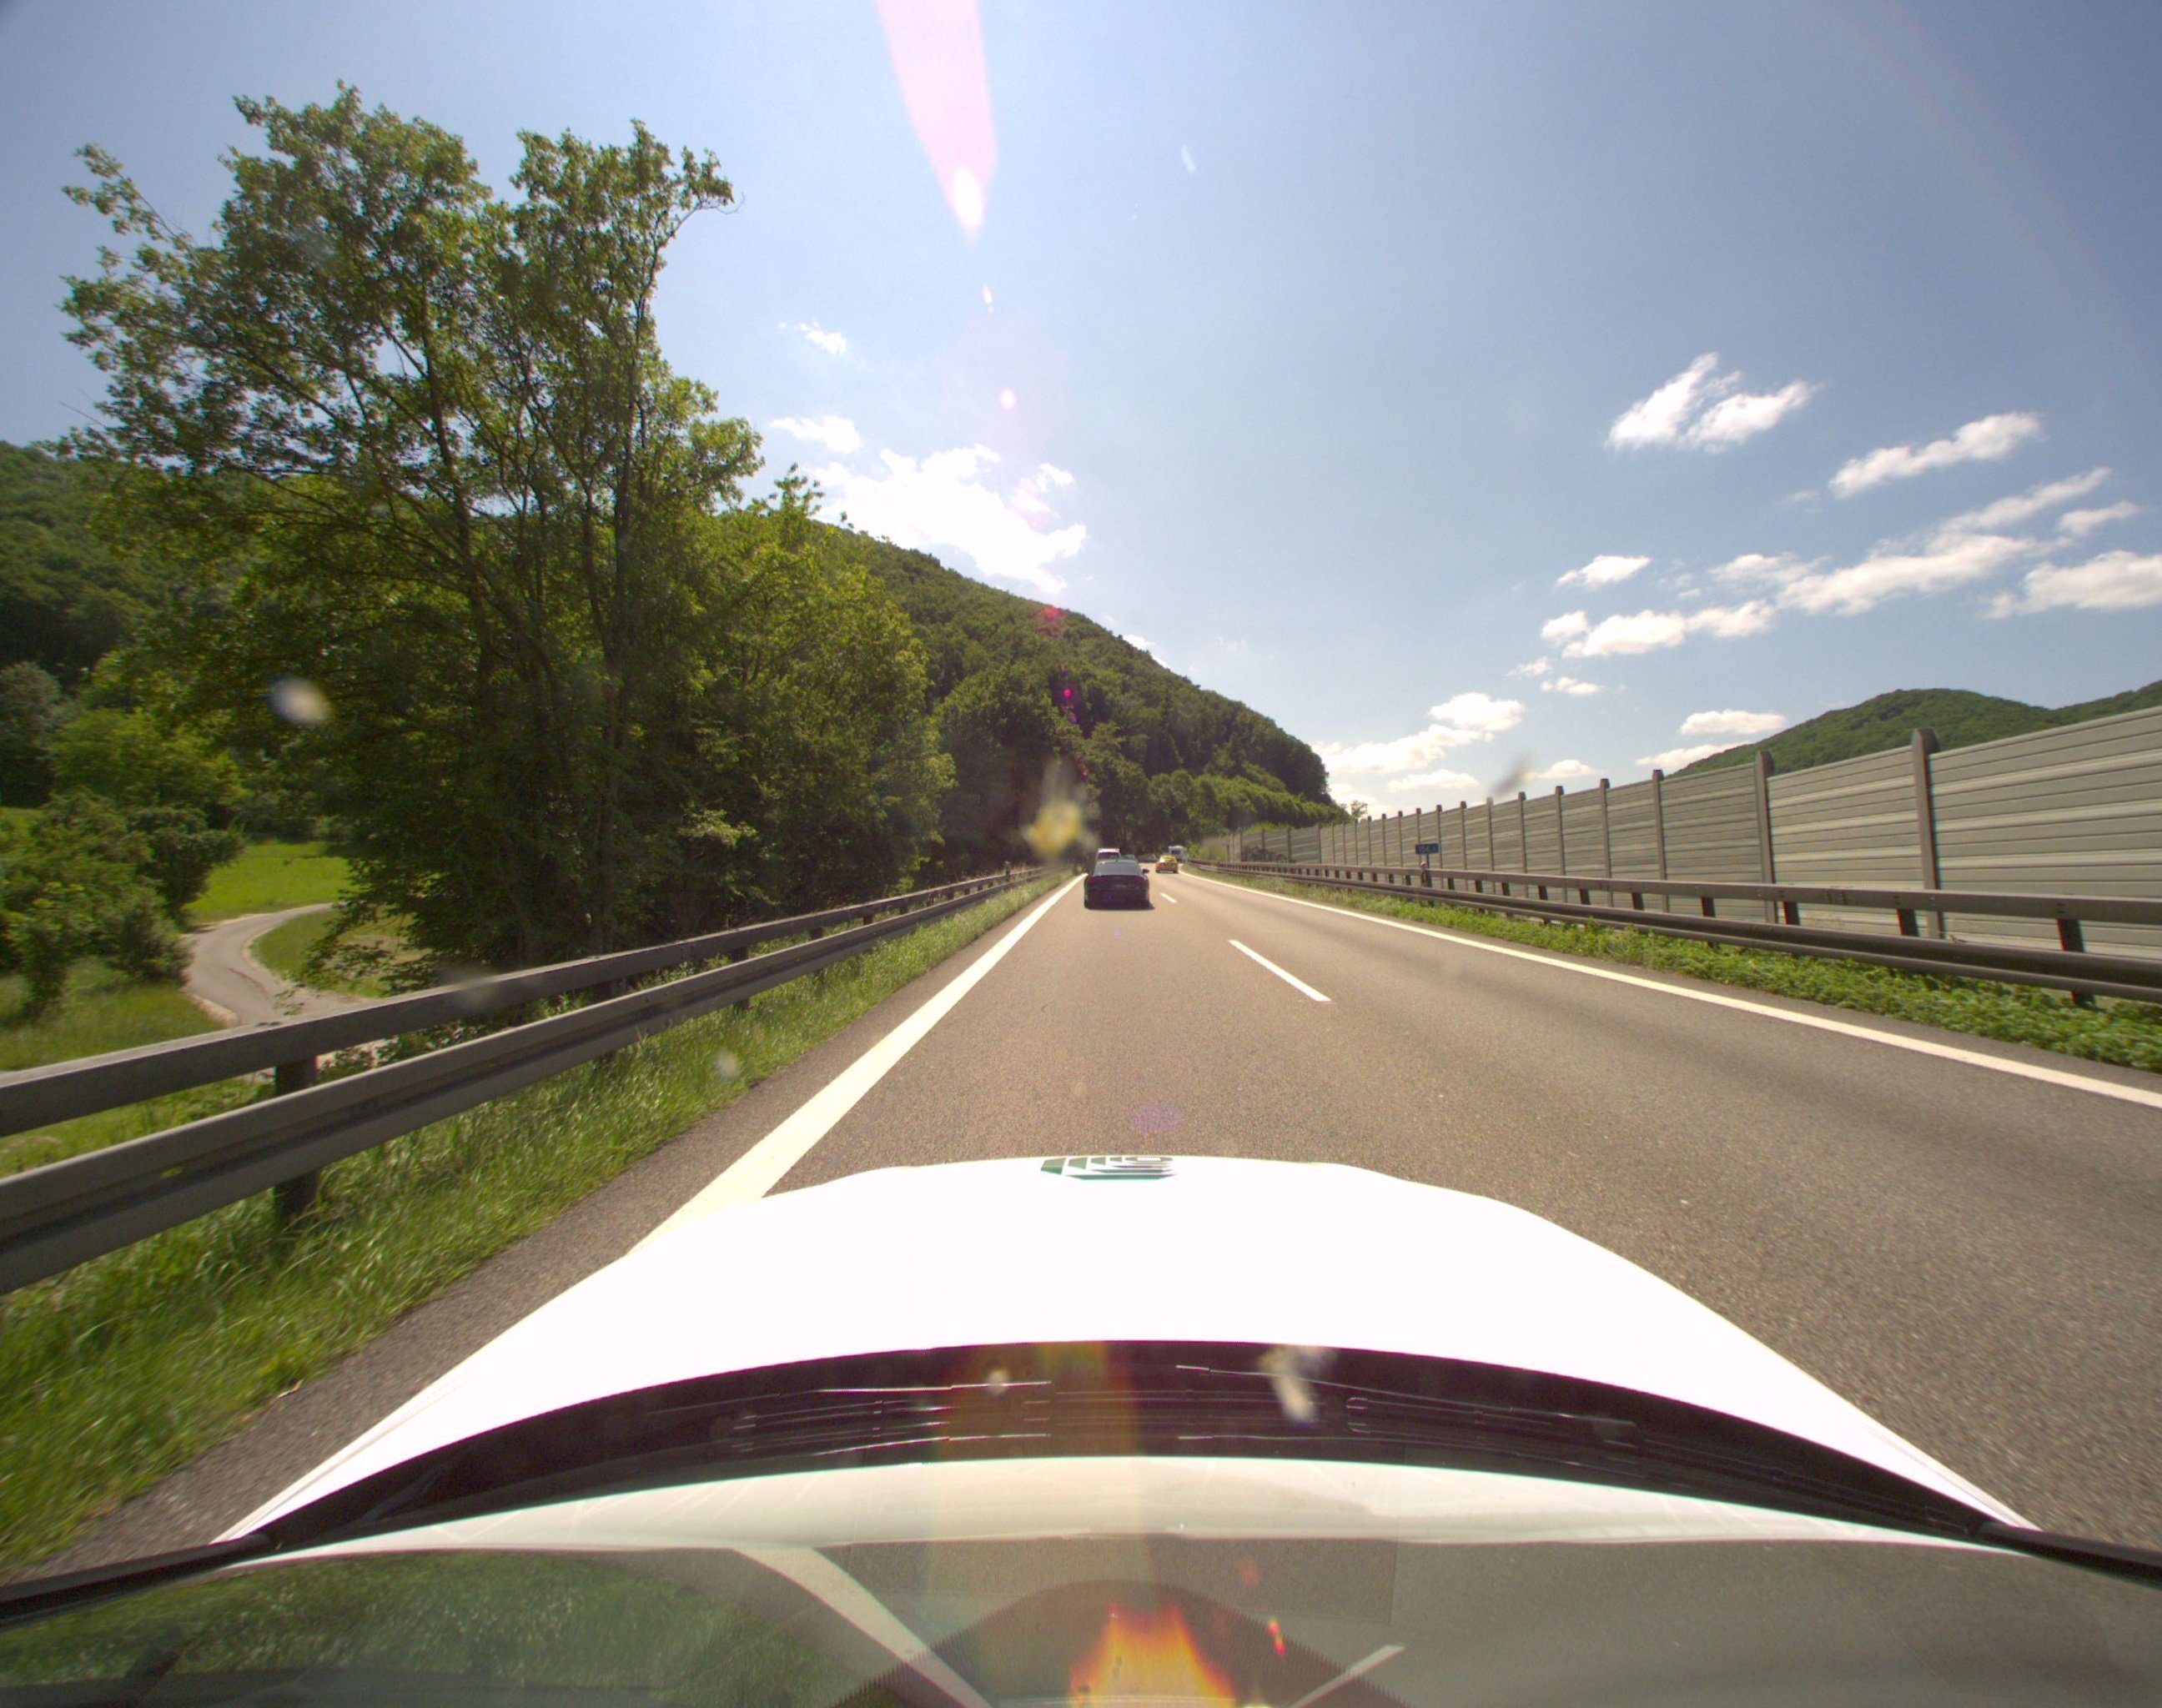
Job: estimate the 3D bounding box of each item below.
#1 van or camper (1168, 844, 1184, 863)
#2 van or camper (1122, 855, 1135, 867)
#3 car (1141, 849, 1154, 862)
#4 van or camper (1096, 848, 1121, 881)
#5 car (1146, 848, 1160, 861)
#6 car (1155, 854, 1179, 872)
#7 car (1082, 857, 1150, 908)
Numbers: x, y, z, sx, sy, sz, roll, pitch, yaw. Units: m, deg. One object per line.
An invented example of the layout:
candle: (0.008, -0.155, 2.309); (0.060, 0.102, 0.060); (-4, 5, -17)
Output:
van or camper: (15.443, -0.025, 132.697); (2.443, 2.918, 6.135); (-1, -1, 6)
van or camper: (6.247, 0.960, 106.854); (1.551, 1.534, 3.507); (-1, -1, 2)
car: (10.680, 0.265, 131.282); (1.984, 2.014, 4.006); (-1, -1, 5)
van or camper: (1.600, 0.601, 47.765); (1.386, 1.816, 4.001); (-1, -1, 2)
car: (9.781, 0.087, 110.808); (1.767, 1.637, 4.001); (0, -1, 1)
car: (7.421, 0.808, 70.652); (1.855, 1.488, 4.003); (-1, -1, 3)
car: (1.031, 0.805, 24.509); (1.831, 1.349, 4.001); (-2, -1, 2)
